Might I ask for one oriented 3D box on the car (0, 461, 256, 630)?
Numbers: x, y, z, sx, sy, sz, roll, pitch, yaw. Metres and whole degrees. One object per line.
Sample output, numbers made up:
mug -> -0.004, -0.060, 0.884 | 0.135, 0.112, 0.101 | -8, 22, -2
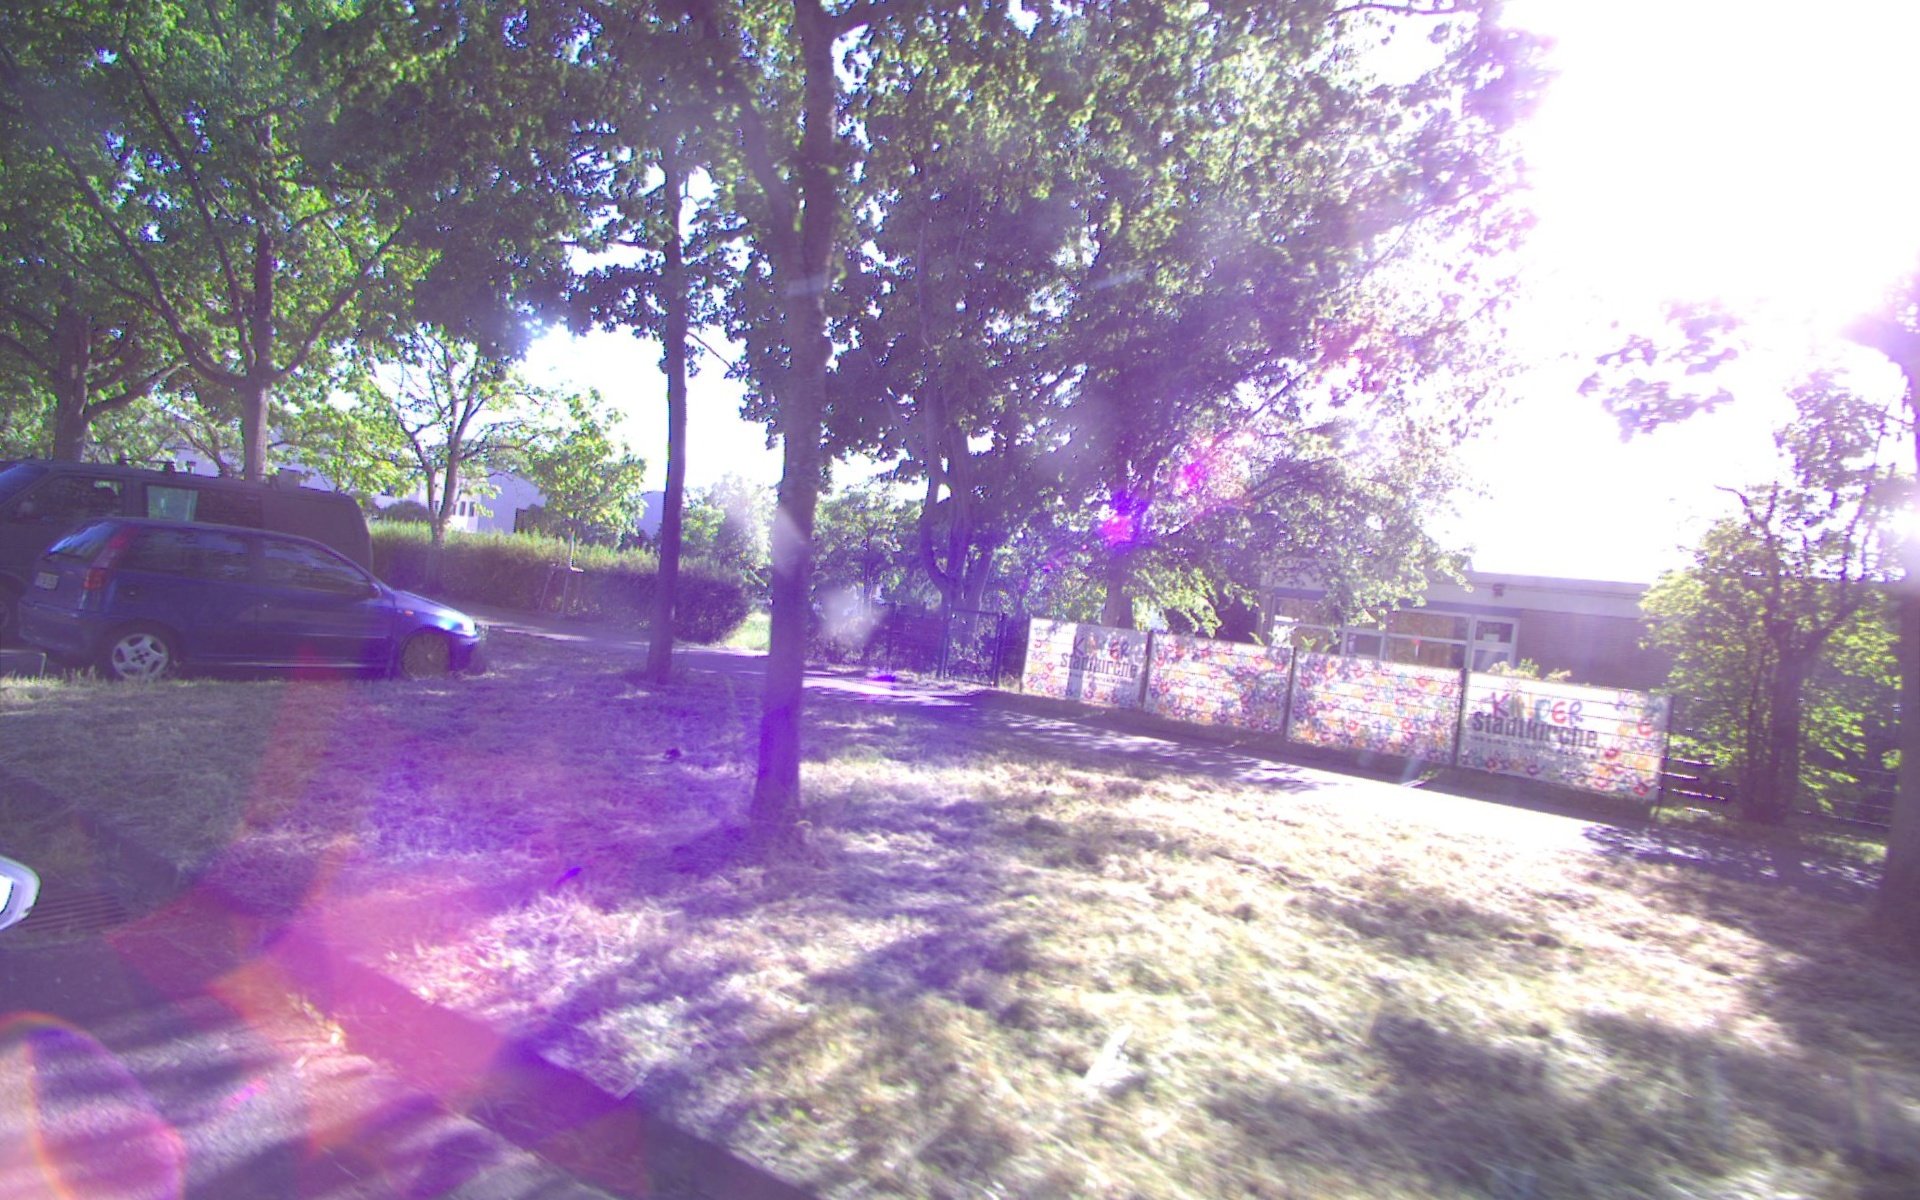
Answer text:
car -> -11.439, -0.708, 12.440 | 1.769, 1.860, 4.013 | 6, 0, 30

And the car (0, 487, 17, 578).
car -> -18.083, -1.340, 16.489 | 1.639, 1.551, 3.521 | 7, 0, 35

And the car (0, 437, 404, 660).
car -> -9.238, -0.517, 11.286 | 1.912, 2.057, 4.807 | 7, 0, 33

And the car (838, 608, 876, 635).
car -> -11.642, 2.398, 113.226 | 2.319, 2.640, 5.435 | 8, -2, -25

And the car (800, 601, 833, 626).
car -> -17.799, 1.685, 124.786 | 2.319, 2.640, 5.435 | 8, -2, -25

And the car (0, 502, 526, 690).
car -> -6.703, 0.061, 10.051 | 1.711, 1.420, 3.992 | 7, 0, 33
